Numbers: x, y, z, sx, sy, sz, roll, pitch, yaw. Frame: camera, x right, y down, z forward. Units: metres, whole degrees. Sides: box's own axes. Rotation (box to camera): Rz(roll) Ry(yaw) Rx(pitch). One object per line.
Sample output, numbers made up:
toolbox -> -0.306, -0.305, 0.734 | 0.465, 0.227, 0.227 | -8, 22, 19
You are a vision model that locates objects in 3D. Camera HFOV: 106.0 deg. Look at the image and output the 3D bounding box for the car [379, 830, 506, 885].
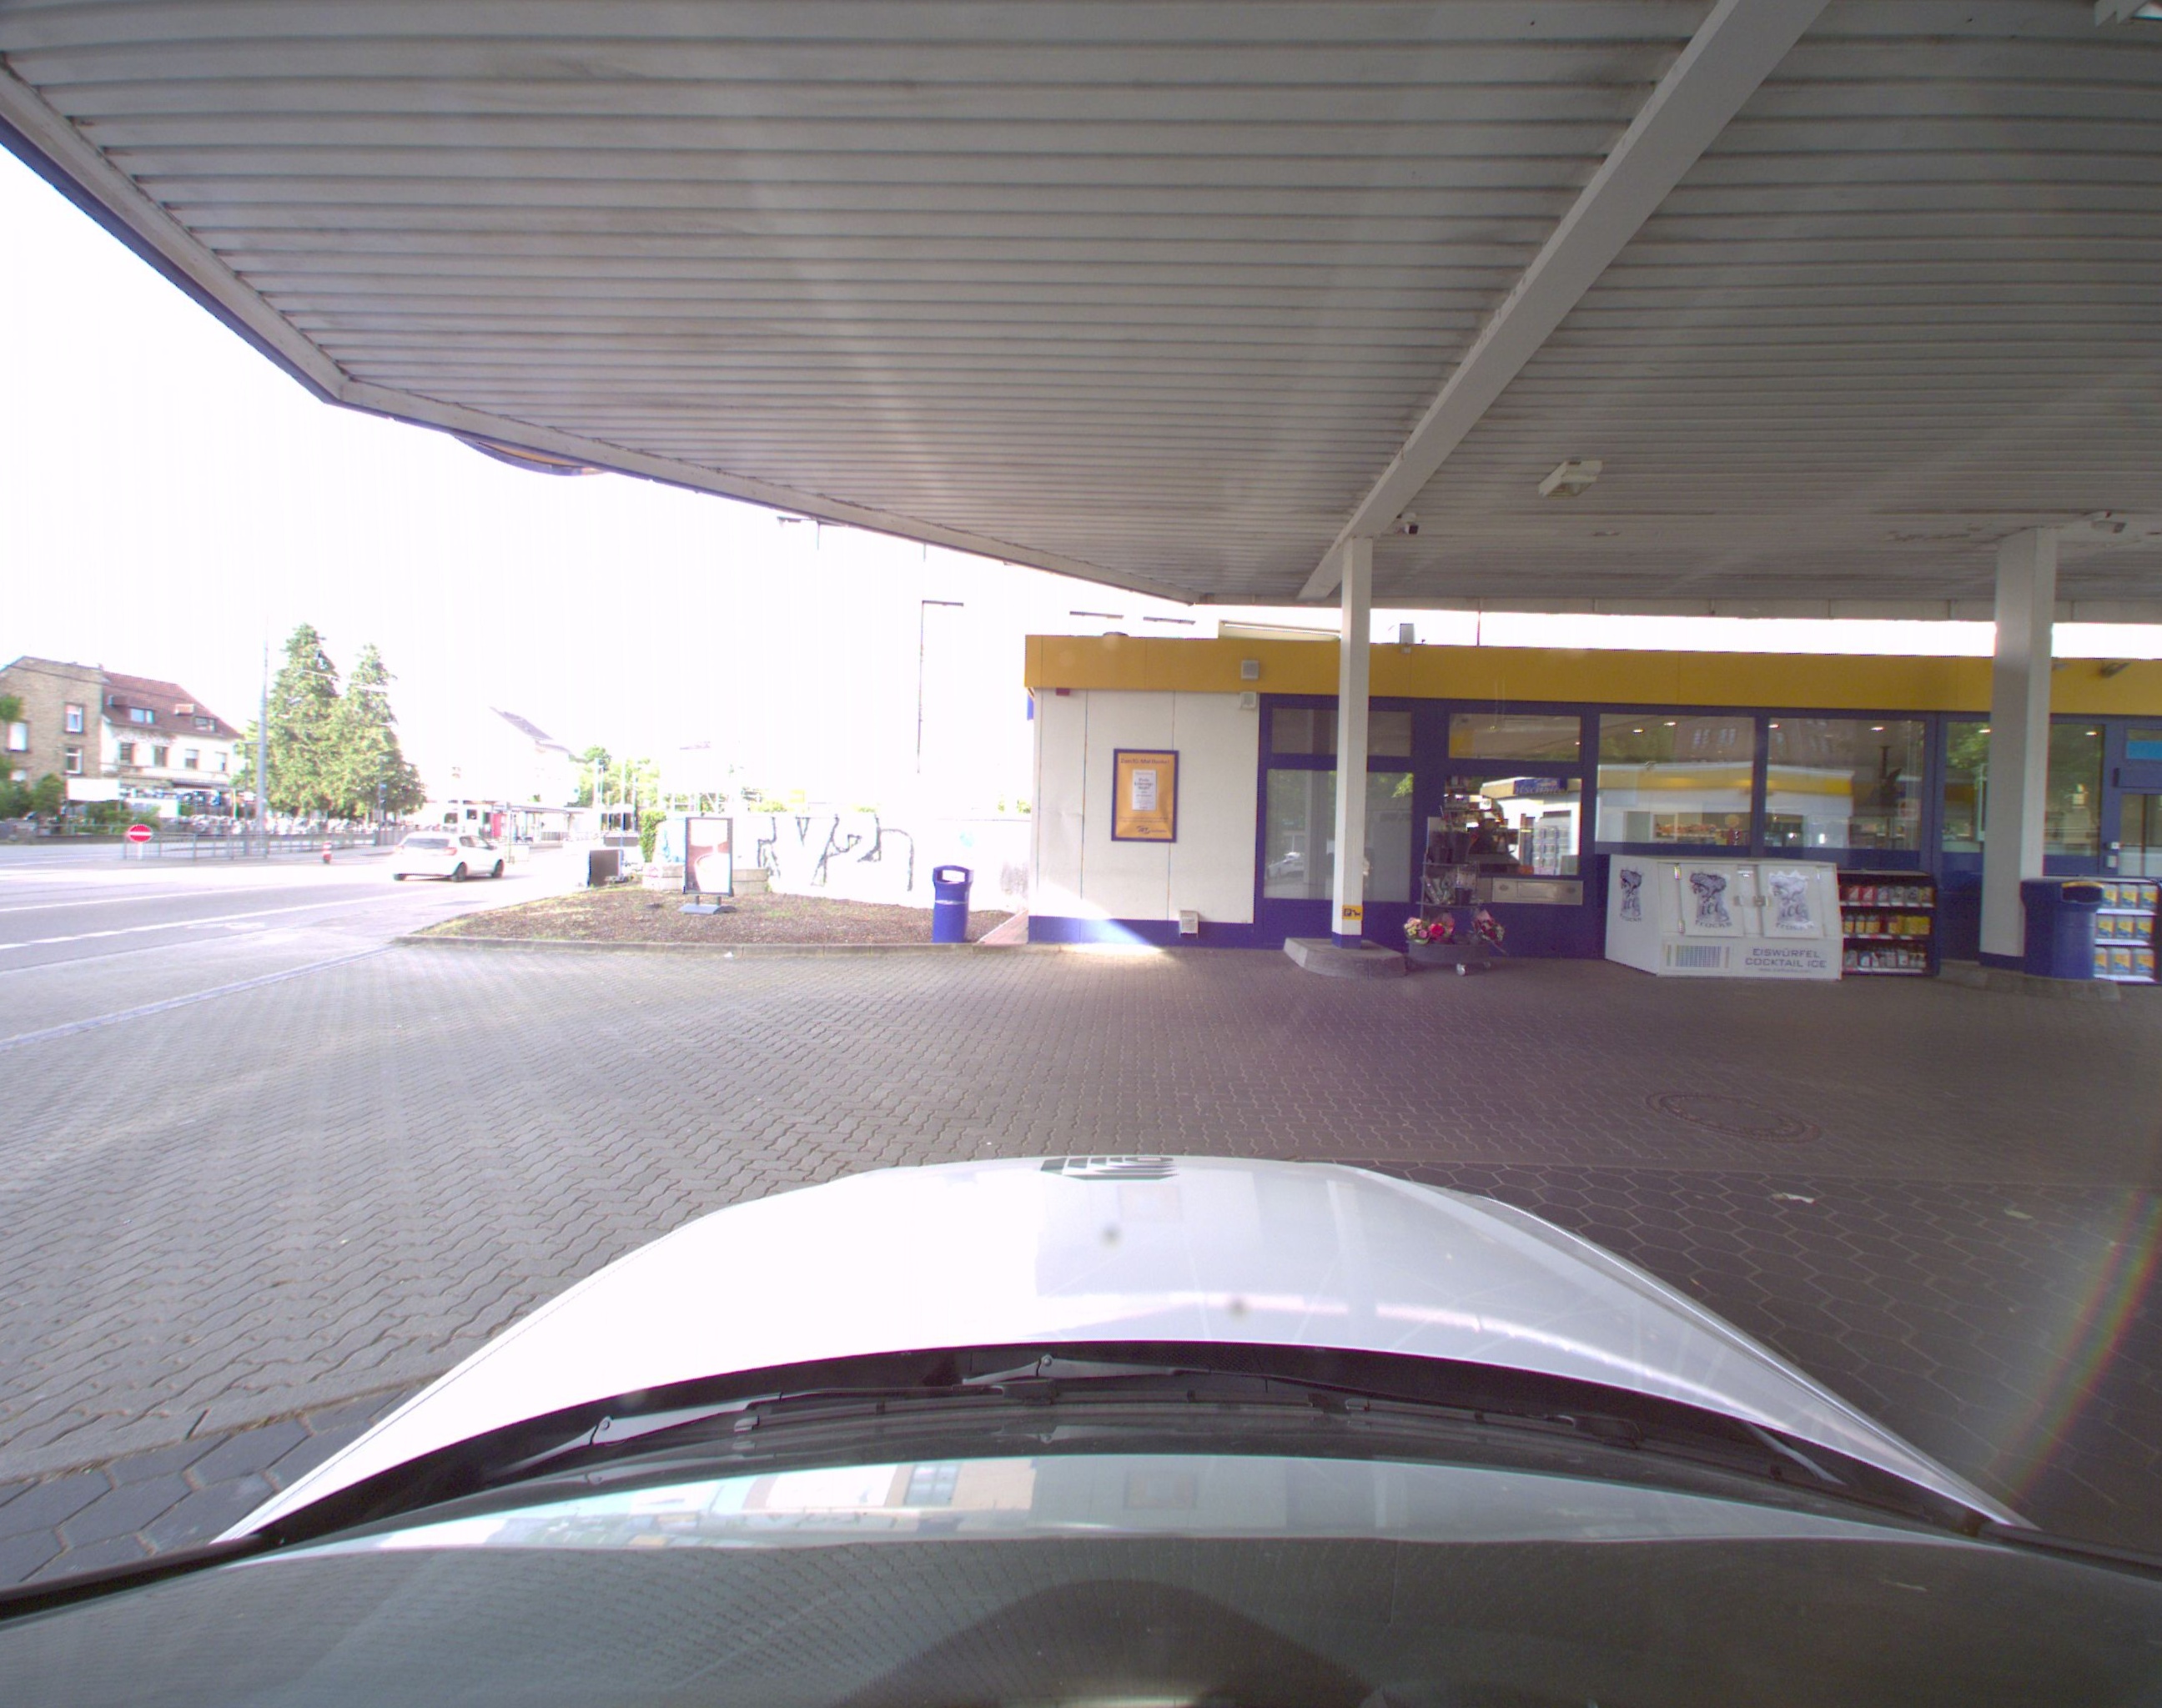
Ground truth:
car -> -18.794, 0.065, 24.168 | 1.687, 1.433, 3.410 | 3, 1, -15
